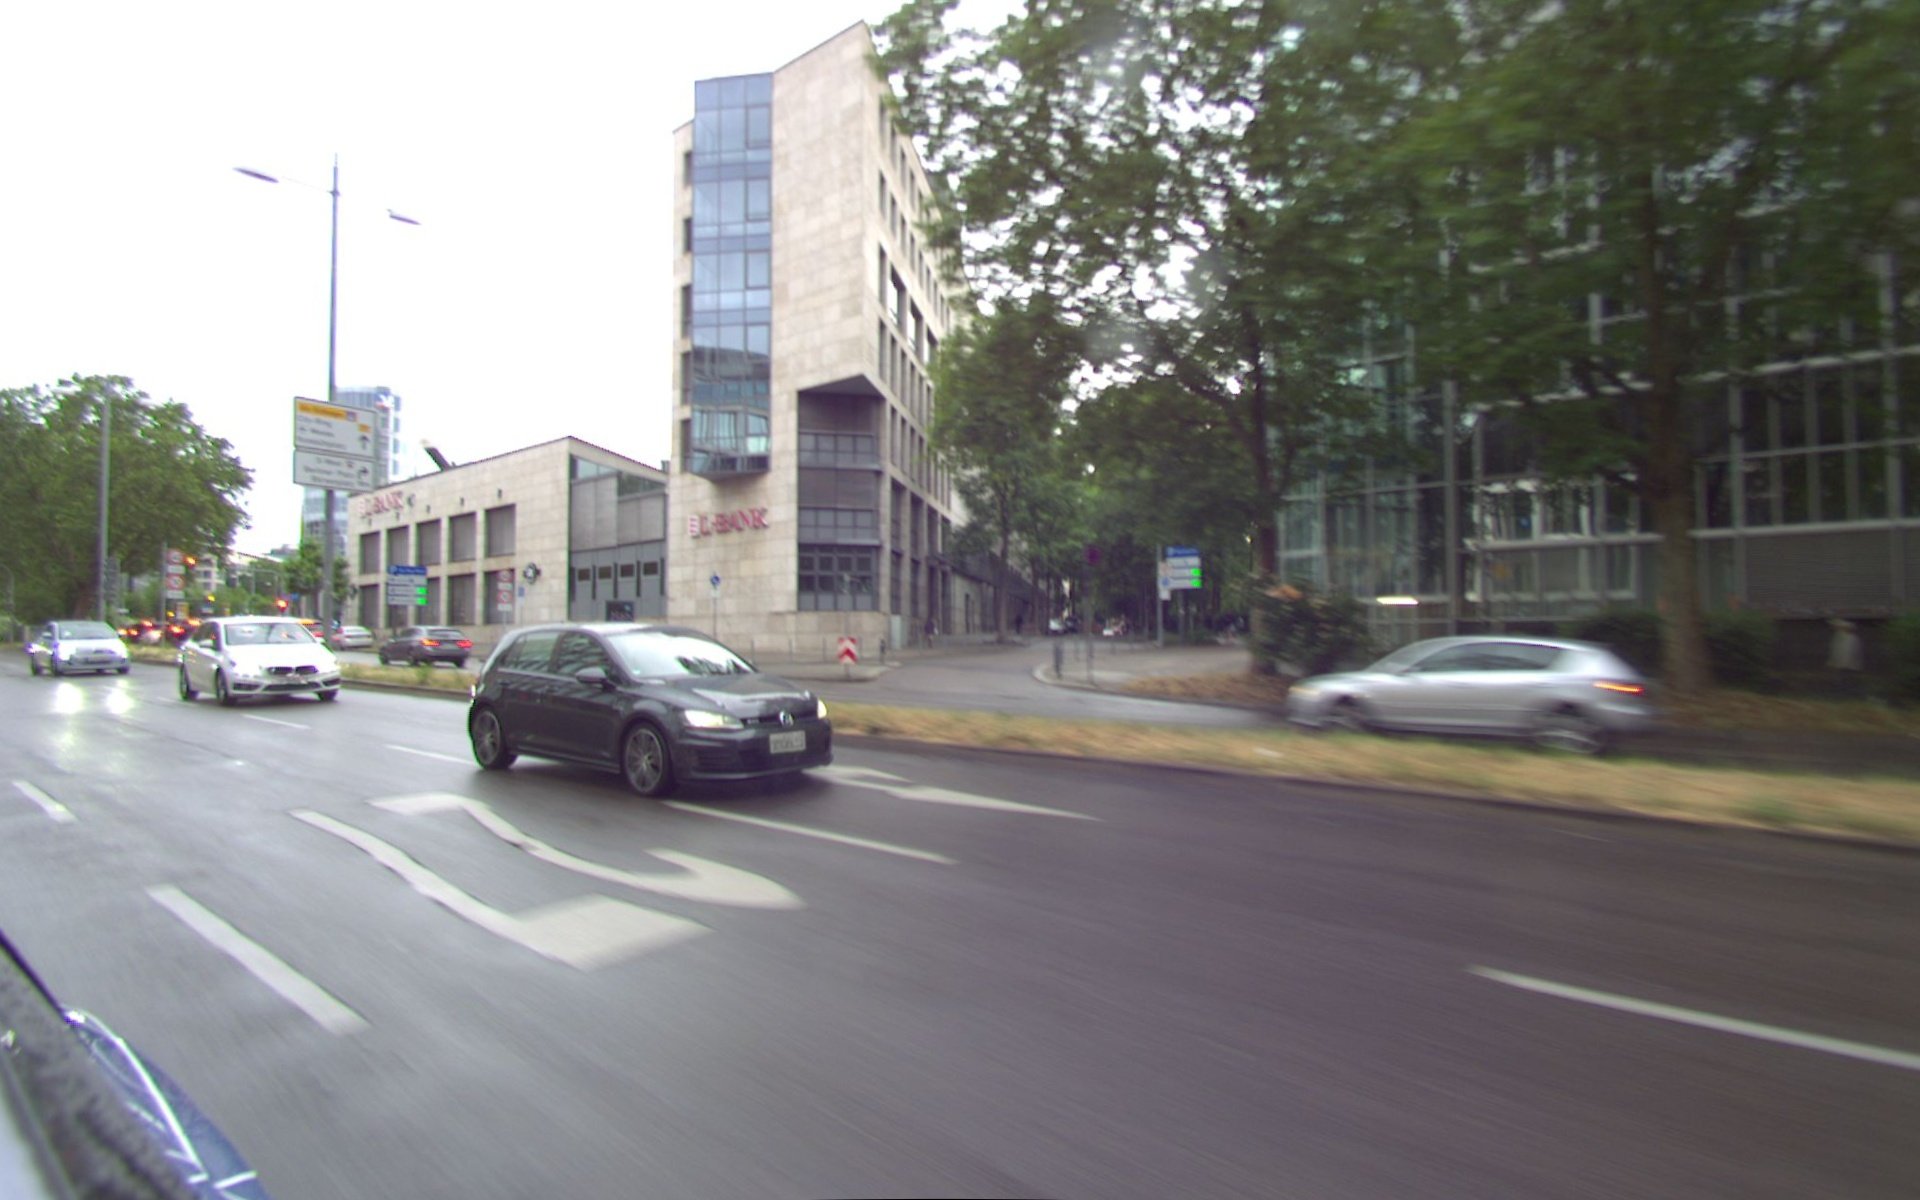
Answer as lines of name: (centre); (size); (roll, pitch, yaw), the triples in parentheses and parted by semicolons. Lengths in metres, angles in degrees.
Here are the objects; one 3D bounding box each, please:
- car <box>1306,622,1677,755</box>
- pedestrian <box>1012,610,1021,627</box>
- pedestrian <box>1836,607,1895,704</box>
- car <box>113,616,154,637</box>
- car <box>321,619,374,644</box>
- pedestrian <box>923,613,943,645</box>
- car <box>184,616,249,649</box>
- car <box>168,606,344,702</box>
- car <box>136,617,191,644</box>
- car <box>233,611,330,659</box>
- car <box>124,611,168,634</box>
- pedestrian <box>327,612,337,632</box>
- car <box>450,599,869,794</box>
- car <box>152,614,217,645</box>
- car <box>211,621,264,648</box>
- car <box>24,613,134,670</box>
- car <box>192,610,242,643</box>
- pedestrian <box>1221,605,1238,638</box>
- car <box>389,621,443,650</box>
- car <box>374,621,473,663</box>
car: (6.846, 1.069, 13.271); (4.076, 1.475, 1.645); (-1, -4, 39)
pedestrian: (5.374, 1.725, 96.249); (0.695, 1.582, 0.540); (-2, -2, 11)
pedestrian: (17.625, 1.067, 19.716); (0.802, 1.821, 0.727); (-2, -2, 41)
car: (-54.363, 1.724, 66.534); (1.727, 1.375, 4.134); (2, -2, -44)
car: (-37.366, 1.904, 61.688); (1.727, 1.426, 4.708); (2, -2, -44)
pedestrian: (-1.360, 1.446, 51.116); (0.815, 1.582, 0.664); (-2, -2, 19)
car: (-32.699, 1.410, 44.477); (4.117, 1.370, 1.579); (-1, -2, 43)
car: (-13.221, 0.930, 18.931); (3.998, 1.608, 1.758); (0, -1, 41)
car: (-43.896, 1.676, 55.756); (4.315, 1.453, 1.839); (-1, -2, 44)
car: (-25.415, 1.281, 37.840); (4.678, 1.693, 1.854); (0, -2, 41)
car: (-49.343, 1.358, 61.308); (1.727, 1.375, 3.947); (2, -2, -44)
pedestrian: (-62.833, 2.184, 101.246); (1.125, 1.939, 0.582); (-2, -1, 41)
car: (-2.966, 0.777, 9.609); (4.117, 1.463, 1.767); (-1, -2, 38)
car: (-38.354, 1.434, 50.002); (4.580, 1.448, 1.682); (0, -2, 41)
car: (-41.476, 1.961, 58.030); (4.397, 1.443, 1.707); (-1, -2, 44)
car: (-25.117, 1.154, 28.829); (3.487, 1.452, 1.594); (-1, 1, 36)
car: (-46.490, 1.628, 63.253); (1.809, 2.017, 5.108); (2, -2, -44)
pedestrian: (13.710, 1.119, 51.443); (0.738, 1.643, 0.653); (-2, -2, 19)
car: (-28.466, 1.856, 52.895); (1.574, 1.426, 3.403); (2, -2, -44)
car: (-19.997, 1.529, 37.618); (4.757, 1.449, 1.673); (0, -2, 41)
